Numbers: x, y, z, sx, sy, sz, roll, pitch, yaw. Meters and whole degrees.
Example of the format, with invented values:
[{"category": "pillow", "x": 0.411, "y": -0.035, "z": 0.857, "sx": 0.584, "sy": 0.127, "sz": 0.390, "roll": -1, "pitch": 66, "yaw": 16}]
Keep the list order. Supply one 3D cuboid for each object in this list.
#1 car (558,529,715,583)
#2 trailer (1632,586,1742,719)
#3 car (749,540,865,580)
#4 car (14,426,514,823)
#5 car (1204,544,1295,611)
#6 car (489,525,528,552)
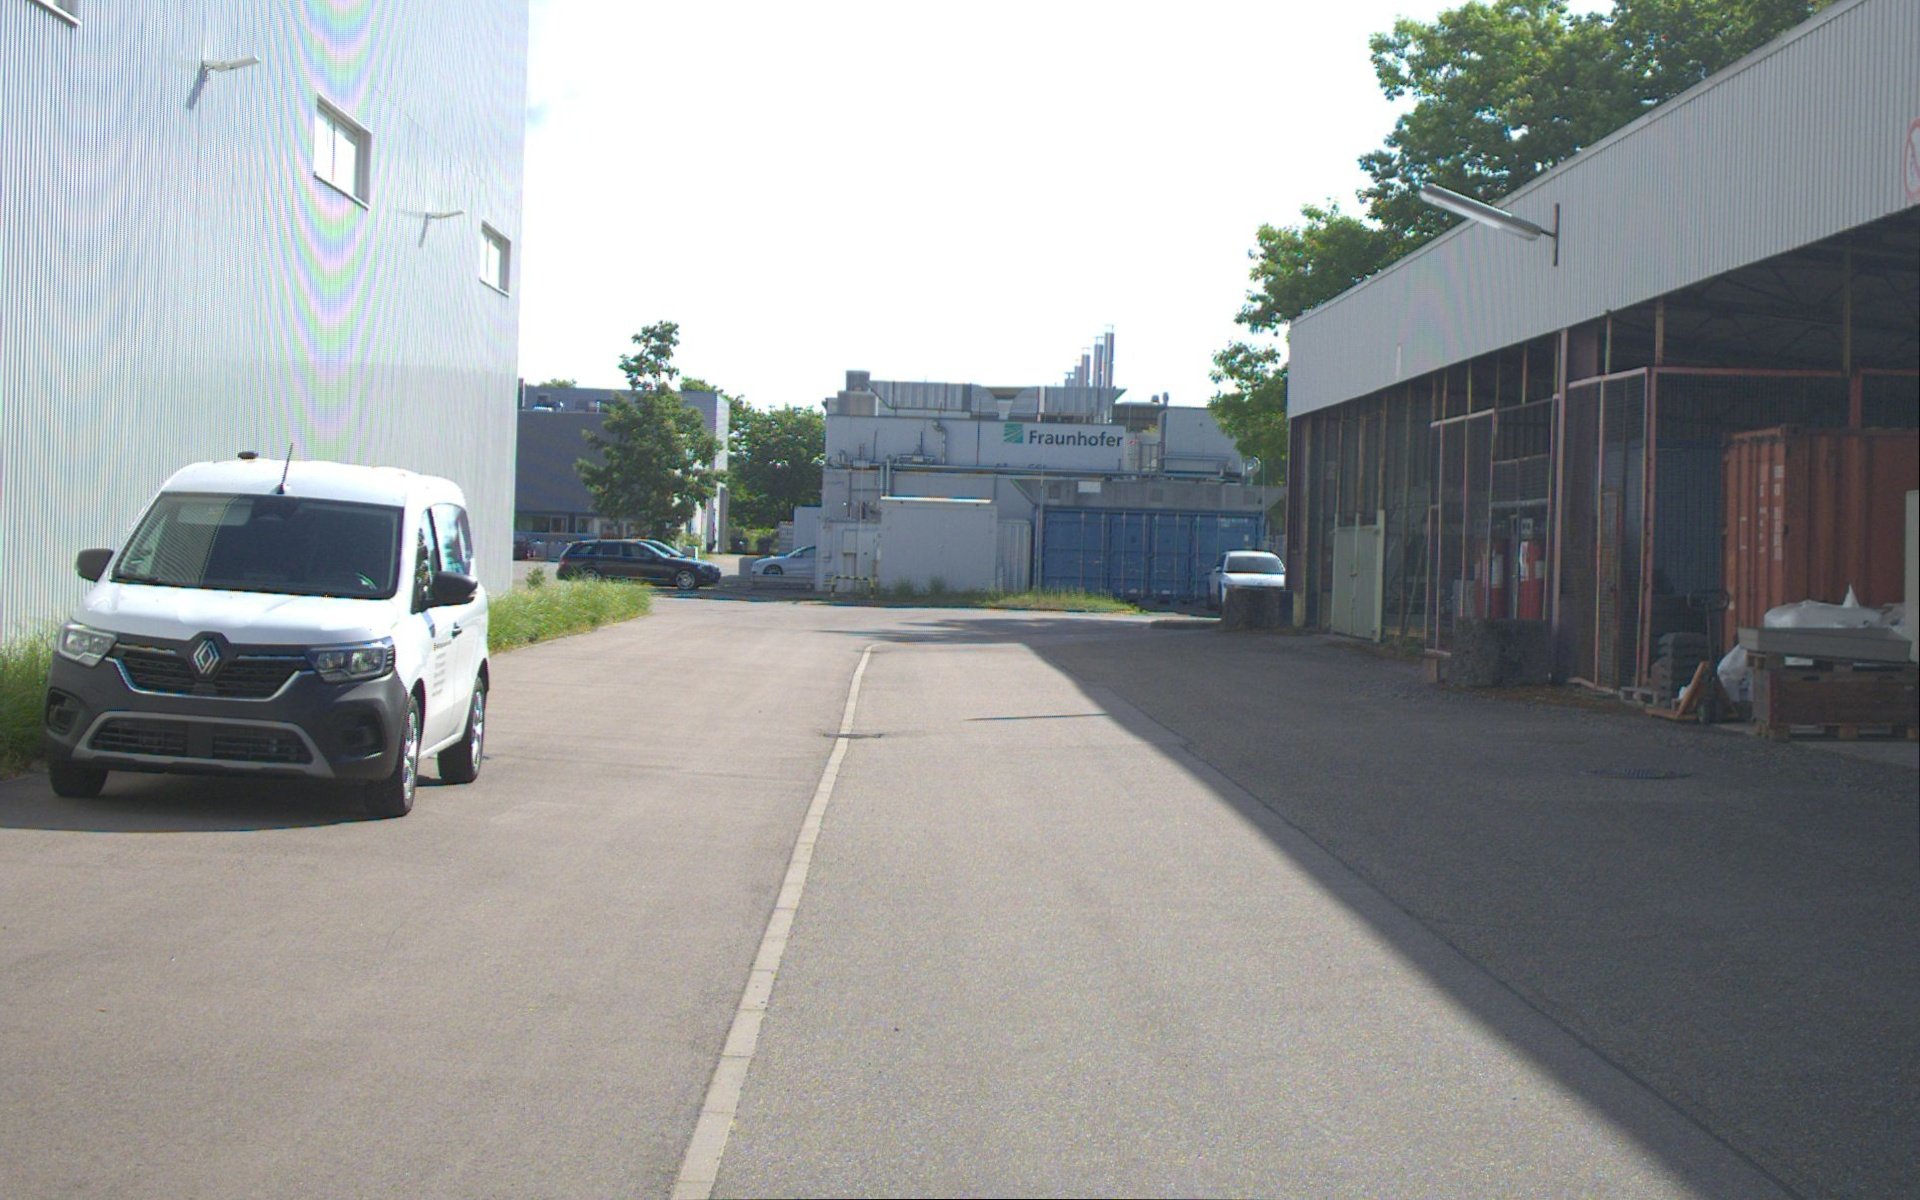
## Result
[{"category": "car", "x": -9.465, "y": -1.278, "z": 100.691, "sx": 4.447, "sy": 1.526, "sz": 1.824, "roll": 1, "pitch": 0, "yaw": -1}, {"category": "trailer", "x": 6.289, "y": 0.441, "z": 29.808, "sx": 0.551, "sy": 1.114, "sz": 1.547, "roll": 0, "pitch": 0, "yaw": -3}, {"category": "car", "x": -5.712, "y": -1.502, "z": 128.622, "sx": 4.302, "sy": 1.452, "sz": 1.824, "roll": 1, "pitch": 0, "yaw": -1}, {"category": "car", "x": -3.635, "y": 0.096, "z": 18.790, "sx": 1.783, "sy": 1.809, "sz": 4.602, "roll": 3, "pitch": 0, "yaw": -1}, {"category": "car", "x": 7.416, "y": -0.602, "z": 88.386, "sx": 1.979, "sy": 1.597, "sz": 4.377, "roll": 0, "pitch": 2, "yaw": 1}, {"category": "car", "x": -25.735, "y": -3.494, "z": 195.879, "sx": 1.858, "sy": 1.489, "sz": 4.030, "roll": 0, "pitch": 1, "yaw": -3}]
